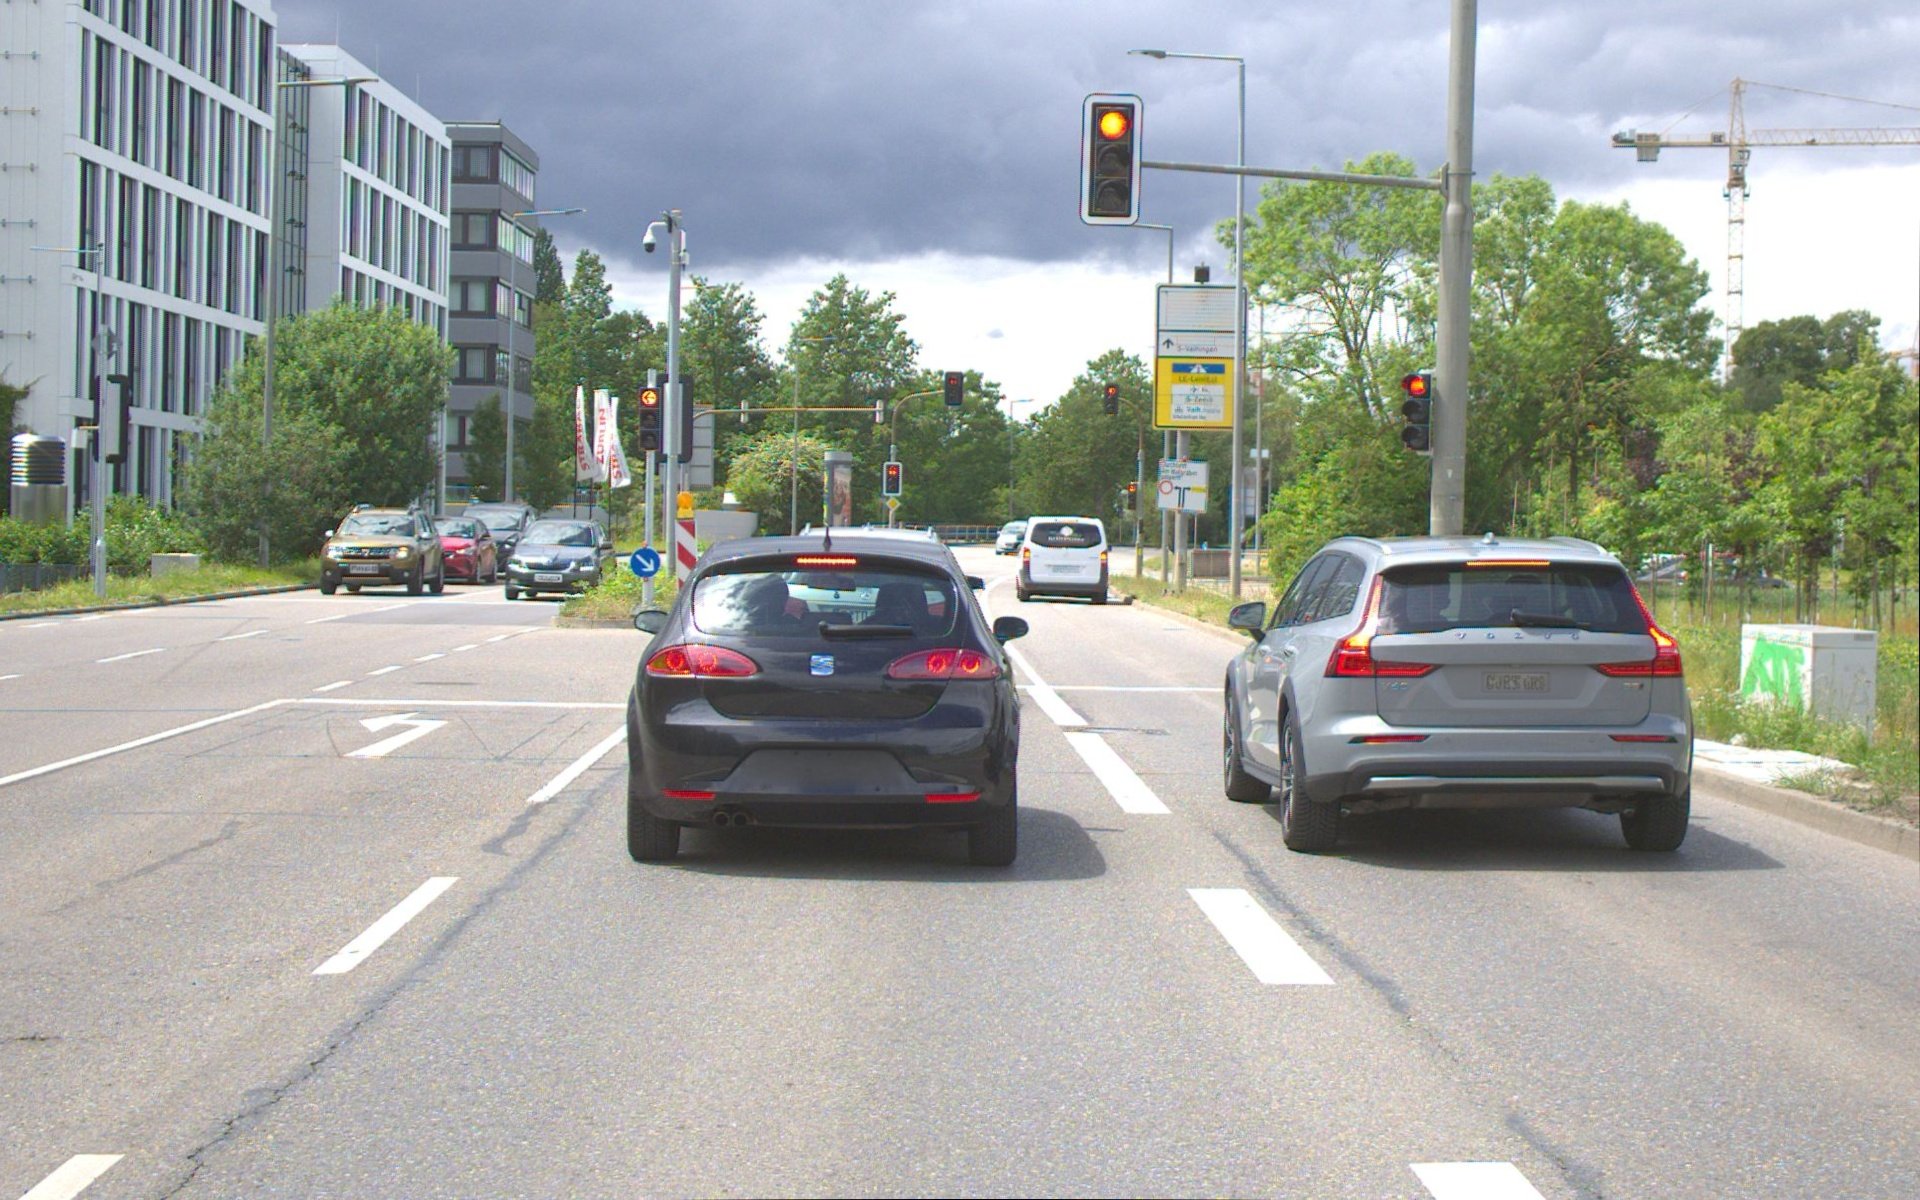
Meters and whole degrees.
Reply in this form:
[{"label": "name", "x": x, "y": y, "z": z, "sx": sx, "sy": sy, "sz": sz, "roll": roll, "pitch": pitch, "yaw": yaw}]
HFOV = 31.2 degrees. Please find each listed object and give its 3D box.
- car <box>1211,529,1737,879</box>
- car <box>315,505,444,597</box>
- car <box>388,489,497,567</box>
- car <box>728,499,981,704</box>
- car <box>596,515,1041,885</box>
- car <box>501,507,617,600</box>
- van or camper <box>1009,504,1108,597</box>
[{"label": "car", "x": 2.419, "y": 0.432, "z": 17.296, "sx": 1.958, "sy": 1.520, "sz": 4.340, "roll": 0, "pitch": 1, "yaw": 0}, {"label": "car", "x": -10.630, "y": -0.915, "z": 63.223, "sx": 1.751, "sy": 1.625, "sz": 4.000, "roll": -1, "pitch": 1, "yaw": -1}, {"label": "car", "x": -11.003, "y": -1.519, "z": 73.321, "sx": 1.776, "sy": 1.606, "sz": 4.000, "roll": 1, "pitch": 1, "yaw": -1}, {"label": "car", "x": -0.907, "y": -0.040, "z": 29.540, "sx": 1.983, "sy": 1.584, "sz": 4.226, "roll": 1, "pitch": 1, "yaw": -2}, {"label": "car", "x": -0.548, "y": 0.394, "z": 16.396, "sx": 1.748, "sy": 1.478, "sz": 4.000, "roll": 2, "pitch": 1, "yaw": 2}, {"label": "car", "x": -7.206, "y": -0.867, "z": 62.055, "sx": 1.668, "sy": 1.519, "sz": 4.009, "roll": -1, "pitch": 3, "yaw": -1}, {"label": "van or camper", "x": 2.104, "y": -1.067, "z": 74.402, "sx": 1.899, "sy": 1.919, "sz": 4.000, "roll": 1, "pitch": 1, "yaw": -1}]
